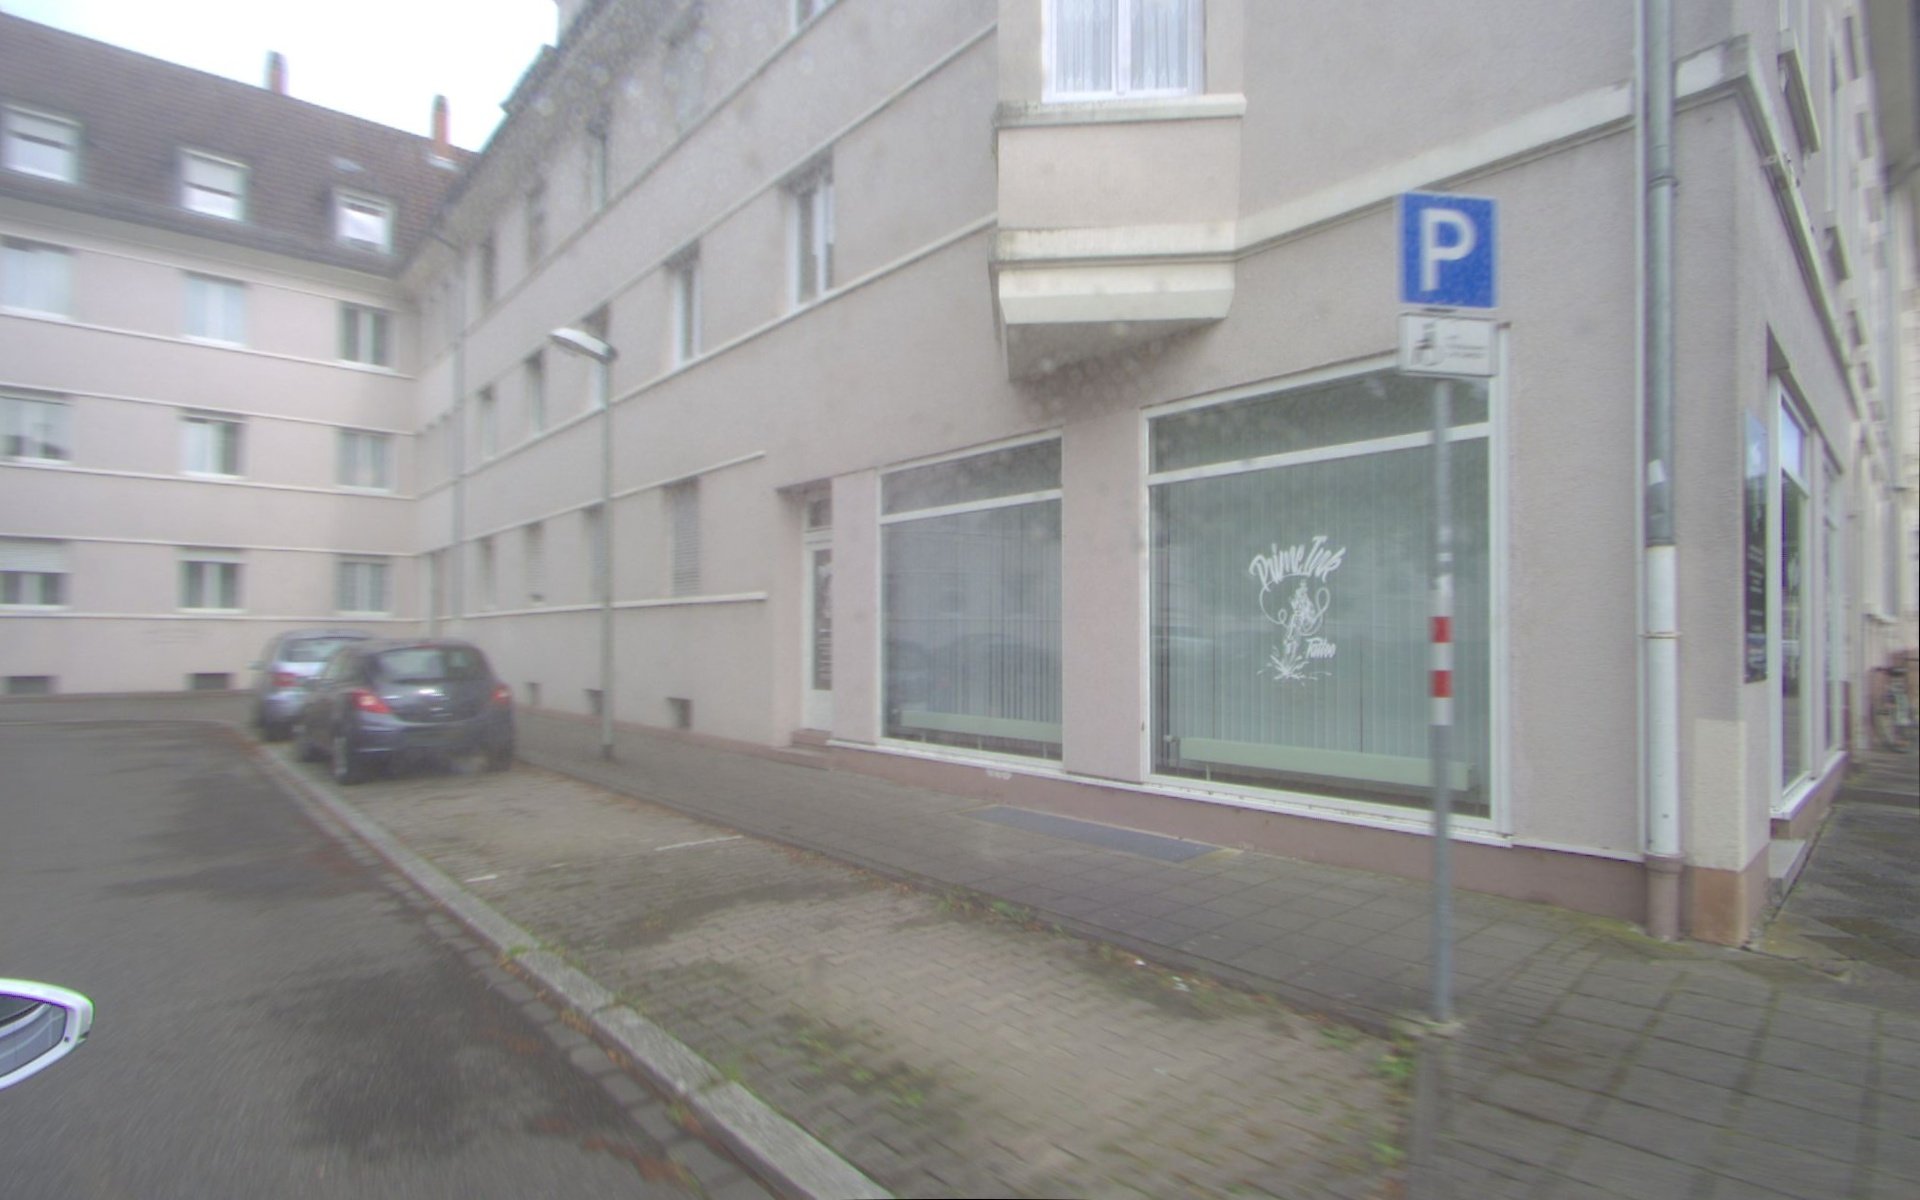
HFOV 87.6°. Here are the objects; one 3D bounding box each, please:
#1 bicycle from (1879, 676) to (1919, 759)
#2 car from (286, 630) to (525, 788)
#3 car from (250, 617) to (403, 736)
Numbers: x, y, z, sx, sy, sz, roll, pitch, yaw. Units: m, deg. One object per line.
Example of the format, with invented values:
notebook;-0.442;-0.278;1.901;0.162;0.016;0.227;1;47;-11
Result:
bicycle;11.804;1.430;12.435;2.151;0.904;0.445;3;-2;-44
car;-6.568;1.139;11.661;1.743;1.508;3.906;2;-3;-39
car;-10.270;1.164;16.100;1.742;1.648;4.170;2;-3;-37
